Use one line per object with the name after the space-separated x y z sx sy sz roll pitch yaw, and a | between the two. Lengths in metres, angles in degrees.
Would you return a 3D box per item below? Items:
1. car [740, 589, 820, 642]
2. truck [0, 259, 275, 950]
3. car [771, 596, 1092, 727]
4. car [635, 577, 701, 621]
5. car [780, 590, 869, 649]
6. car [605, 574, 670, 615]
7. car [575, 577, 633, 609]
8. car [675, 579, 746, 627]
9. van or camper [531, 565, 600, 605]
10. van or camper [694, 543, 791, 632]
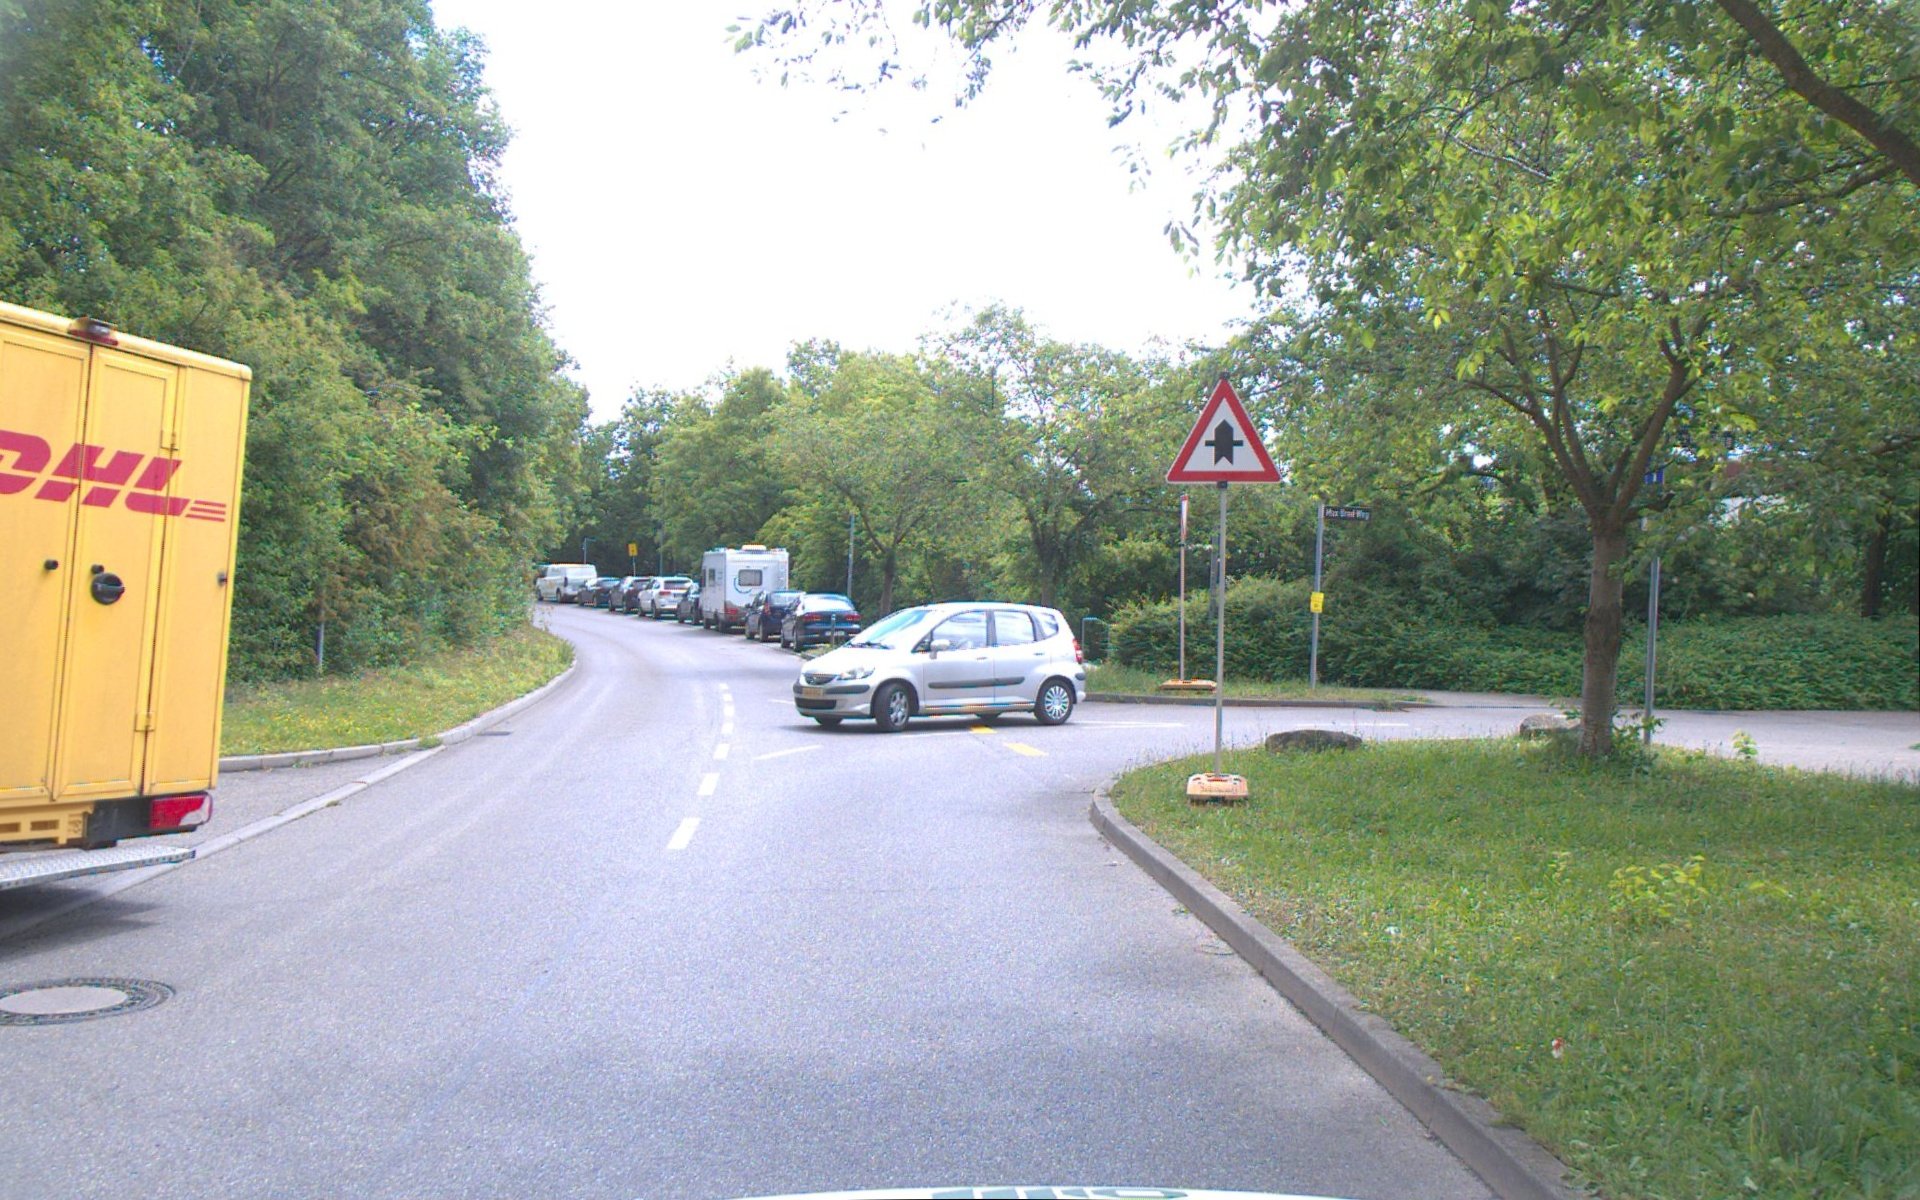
-5.573 0.474 50.912 1.702 1.545 3.869 -1 0 -18 | car
-6.887 -0.186 8.189 6.414 2.857 2.234 4 1 18 | truck
-0.331 0.737 20.617 3.609 1.481 1.825 1 -1 -35 | car
-12.462 -0.067 70.435 1.846 1.718 4.548 1 1 -22 | car
-3.655 0.477 43.981 1.745 1.459 4.319 0 1 -13 | car
-14.820 -0.279 75.891 1.968 1.654 4.245 -2 3 -25 | car
-17.712 -0.362 82.183 1.778 1.489 3.962 0 1 -29 | car
-9.701 0.087 64.023 1.688 1.618 3.973 -7 4 -22 | car
-20.813 -0.831 87.143 1.975 1.953 5.208 -1 3 -32 | van or camper
-7.734 -0.460 58.285 2.296 2.919 6.120 1 0 -18 | van or camper
